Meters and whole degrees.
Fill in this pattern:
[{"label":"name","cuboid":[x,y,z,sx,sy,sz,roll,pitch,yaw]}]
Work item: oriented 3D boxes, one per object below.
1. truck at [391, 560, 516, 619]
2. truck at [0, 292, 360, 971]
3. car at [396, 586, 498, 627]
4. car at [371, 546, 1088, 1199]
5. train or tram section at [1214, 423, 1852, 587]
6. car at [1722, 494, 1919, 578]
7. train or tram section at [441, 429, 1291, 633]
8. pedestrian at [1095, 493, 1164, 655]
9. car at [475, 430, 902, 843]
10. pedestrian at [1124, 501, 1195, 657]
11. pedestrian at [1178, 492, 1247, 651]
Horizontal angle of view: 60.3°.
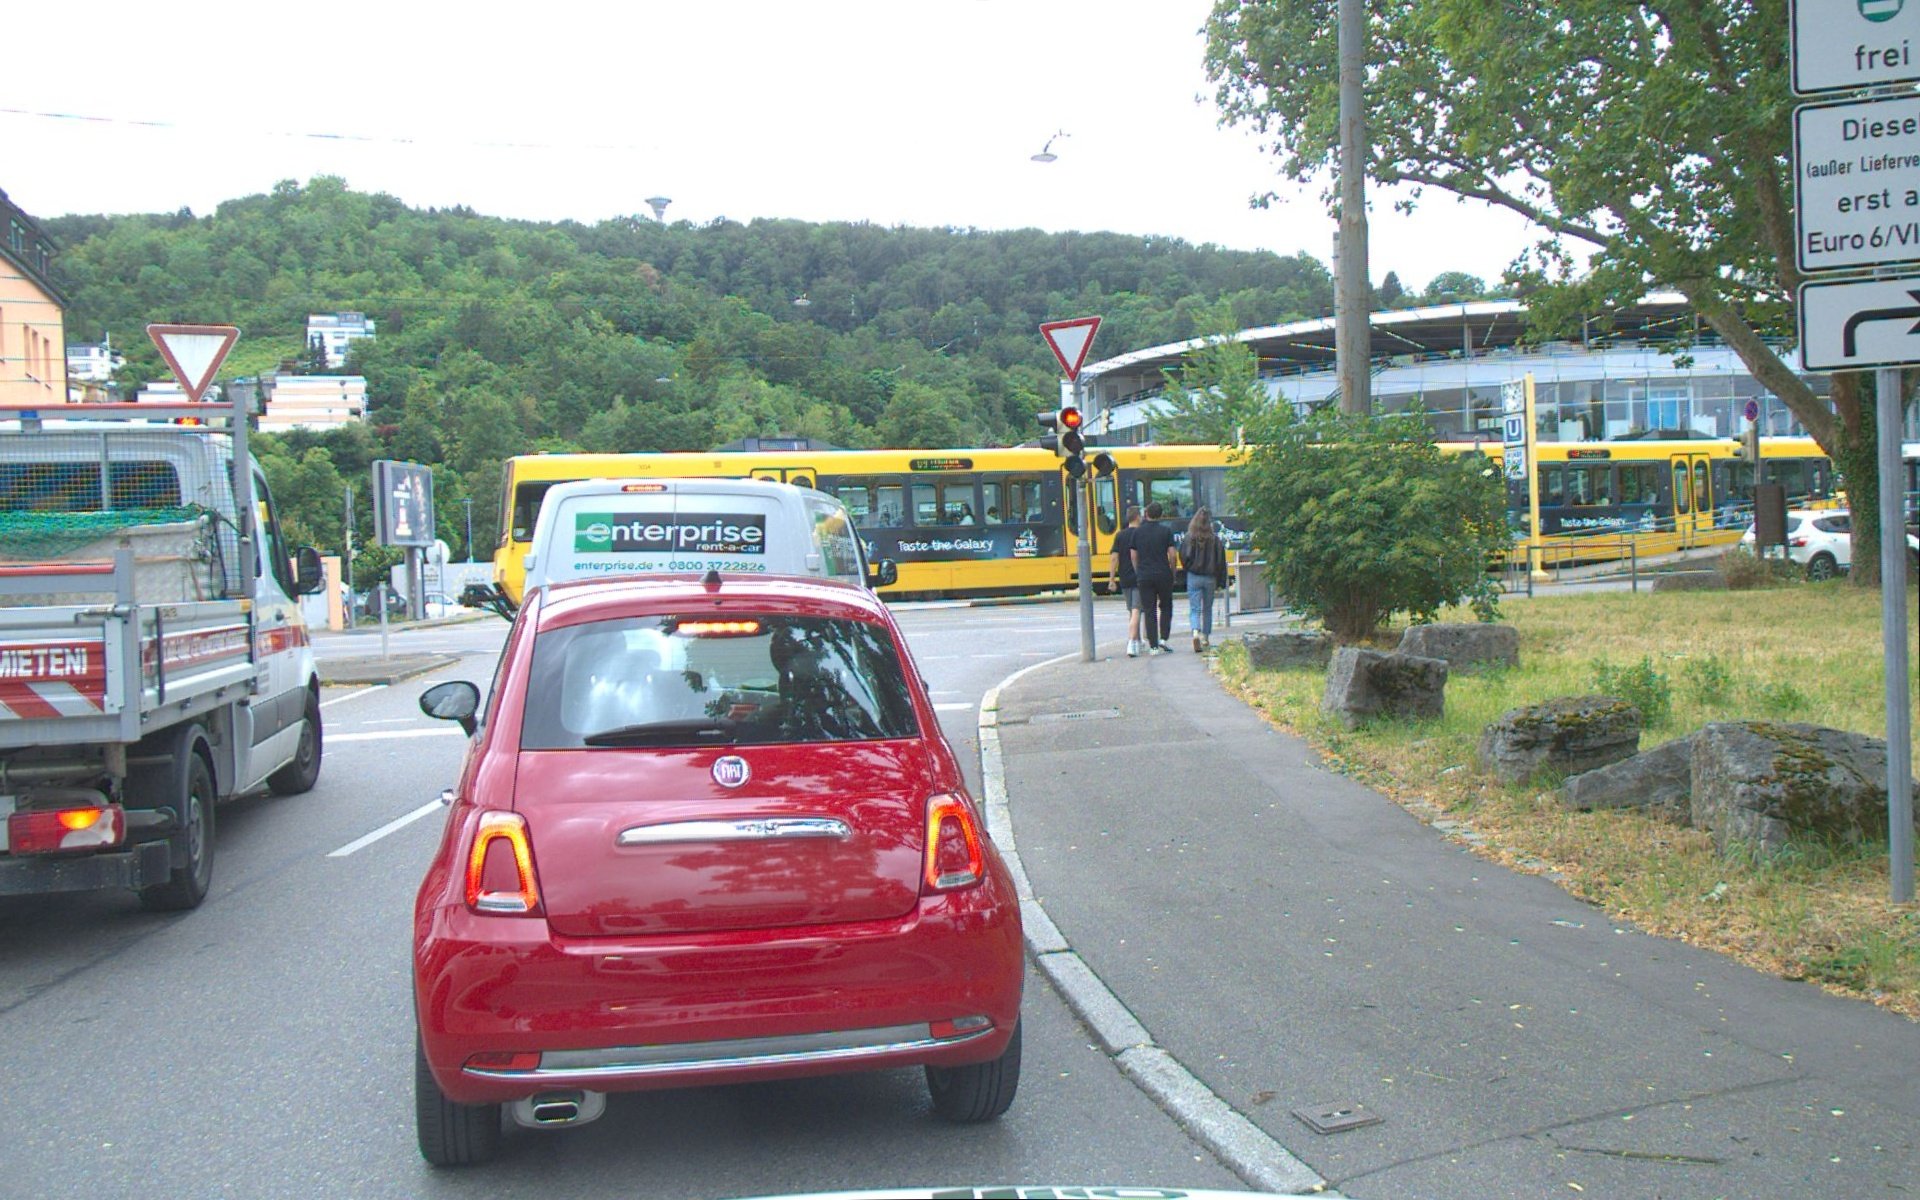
[{"label":"truck","cuboid":[-23.174,-0.494,75.722,5.127,2.434,1.981,-3,2,-29]},{"label":"truck","cuboid":[-4.837,0.117,8.698,2.381,2.439,6.008,-3,1,-14]},{"label":"car","cuboid":[-22.488,0.272,72.639,4.135,1.560,1.768,-3,2,-16]},{"label":"car","cuboid":[-0.831,0.609,5.510,1.610,1.482,3.421,-2,1,-12]},{"label":"train or tram section","cuboid":[15.754,-2.652,44.192,18.859,3.729,3.254,-3,2,-24]},{"label":"car","cuboid":[18.602,-1.375,35.578,4.059,1.611,1.790,-3,2,-24]},{"label":"train or tram section","cuboid":[-1.639,-1.698,37.064,18.835,3.729,3.258,-3,2,-21]},{"label":"pedestrian","cuboid":[2.060,-0.319,20.040,0.678,1.889,0.789,-2,1,11]},{"label":"car","cuboid":[-1.553,0.140,11.341,1.948,2.143,4.763,-3,1,1]},{"label":"pedestrian","cuboid":[2.328,-0.252,19.275,0.678,1.744,0.789,-2,1,12]},{"label":"pedestrian","cuboid":[2.919,-0.331,19.096,0.678,1.770,0.789,-2,1,11]}]
